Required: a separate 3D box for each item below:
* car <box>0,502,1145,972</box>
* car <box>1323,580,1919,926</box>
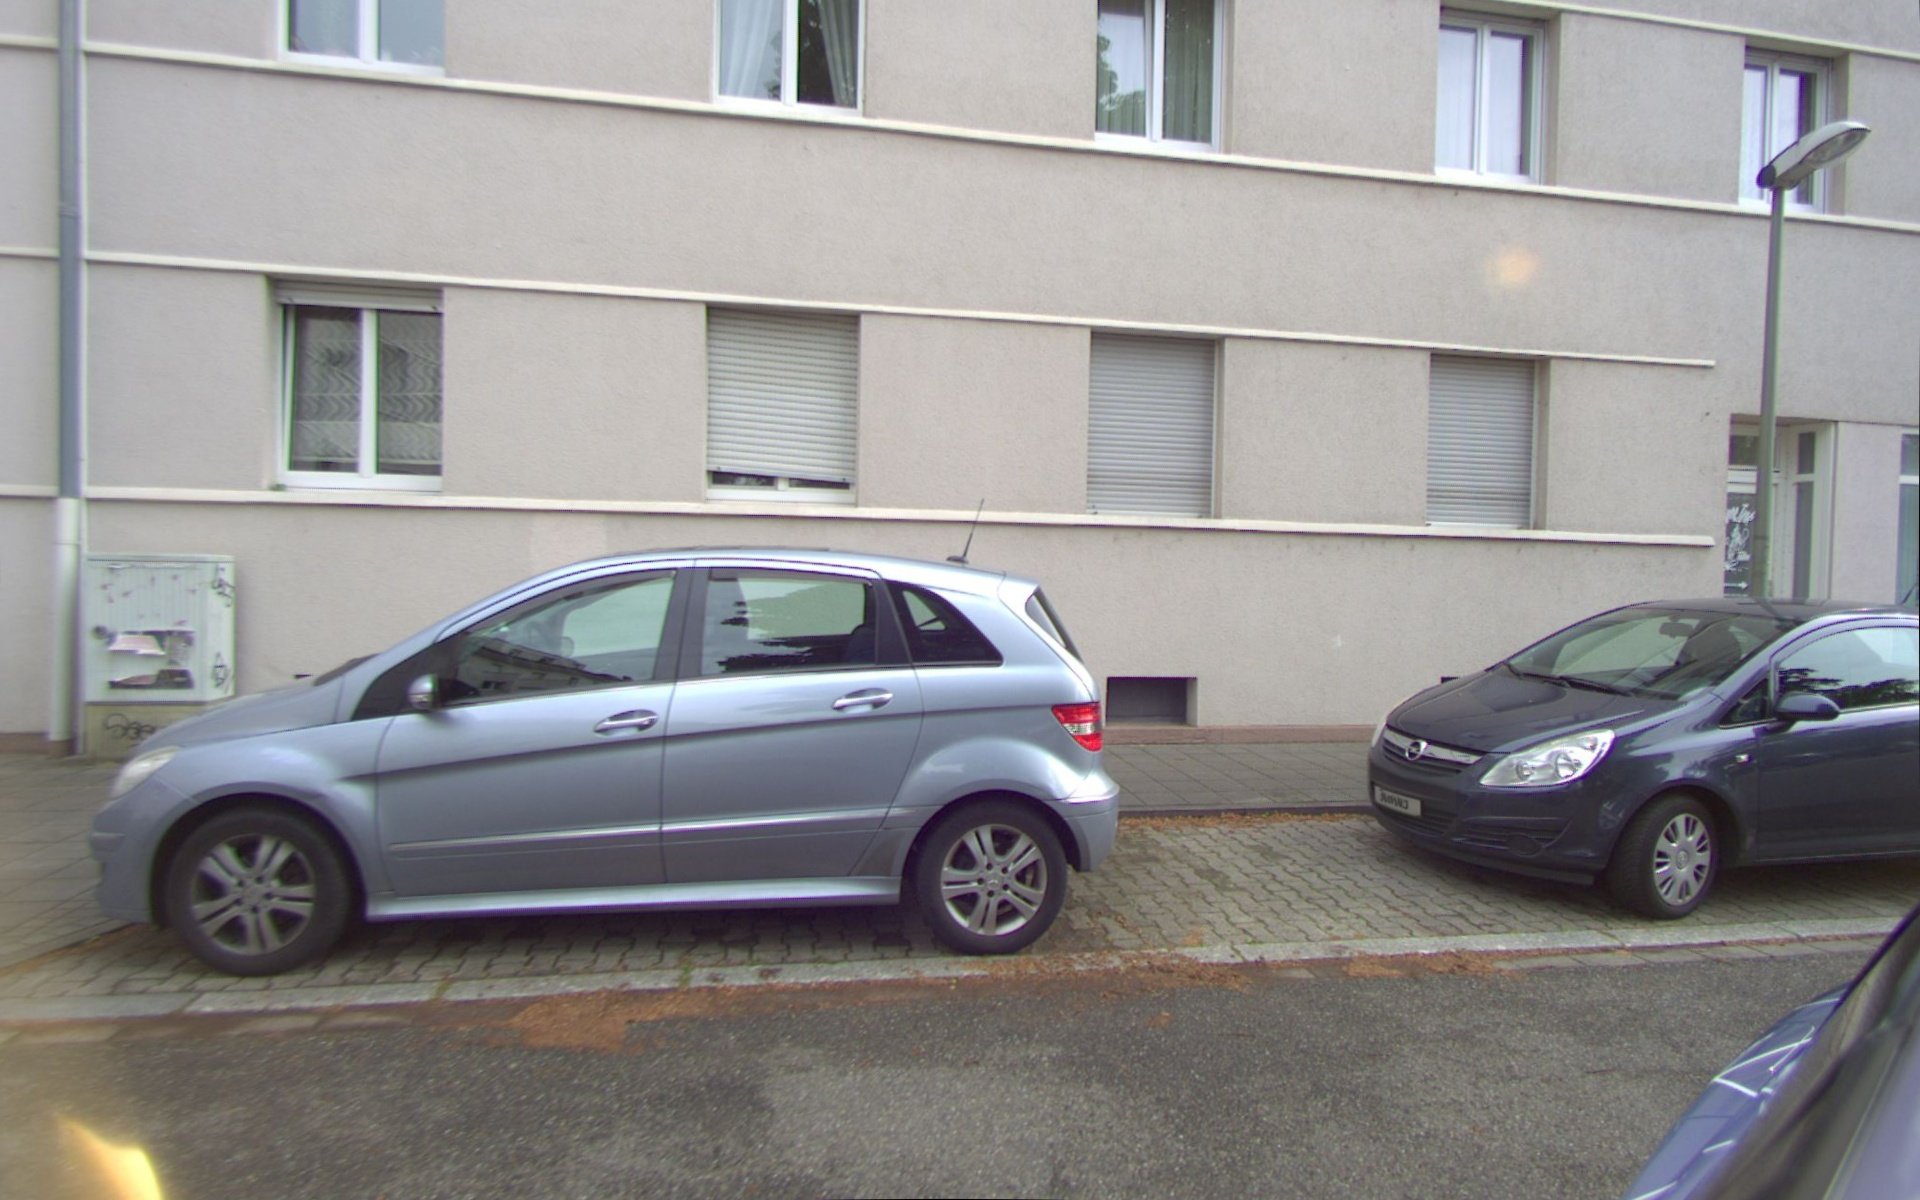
[{"bbox_3d":[-1.426,0.469,4.646,4.115,1.648,1.765,0,1,-7],"label":"car"},{"bbox_3d":[4.273,0.663,5.602,3.856,1.508,1.766,0,1,-9],"label":"car"}]
